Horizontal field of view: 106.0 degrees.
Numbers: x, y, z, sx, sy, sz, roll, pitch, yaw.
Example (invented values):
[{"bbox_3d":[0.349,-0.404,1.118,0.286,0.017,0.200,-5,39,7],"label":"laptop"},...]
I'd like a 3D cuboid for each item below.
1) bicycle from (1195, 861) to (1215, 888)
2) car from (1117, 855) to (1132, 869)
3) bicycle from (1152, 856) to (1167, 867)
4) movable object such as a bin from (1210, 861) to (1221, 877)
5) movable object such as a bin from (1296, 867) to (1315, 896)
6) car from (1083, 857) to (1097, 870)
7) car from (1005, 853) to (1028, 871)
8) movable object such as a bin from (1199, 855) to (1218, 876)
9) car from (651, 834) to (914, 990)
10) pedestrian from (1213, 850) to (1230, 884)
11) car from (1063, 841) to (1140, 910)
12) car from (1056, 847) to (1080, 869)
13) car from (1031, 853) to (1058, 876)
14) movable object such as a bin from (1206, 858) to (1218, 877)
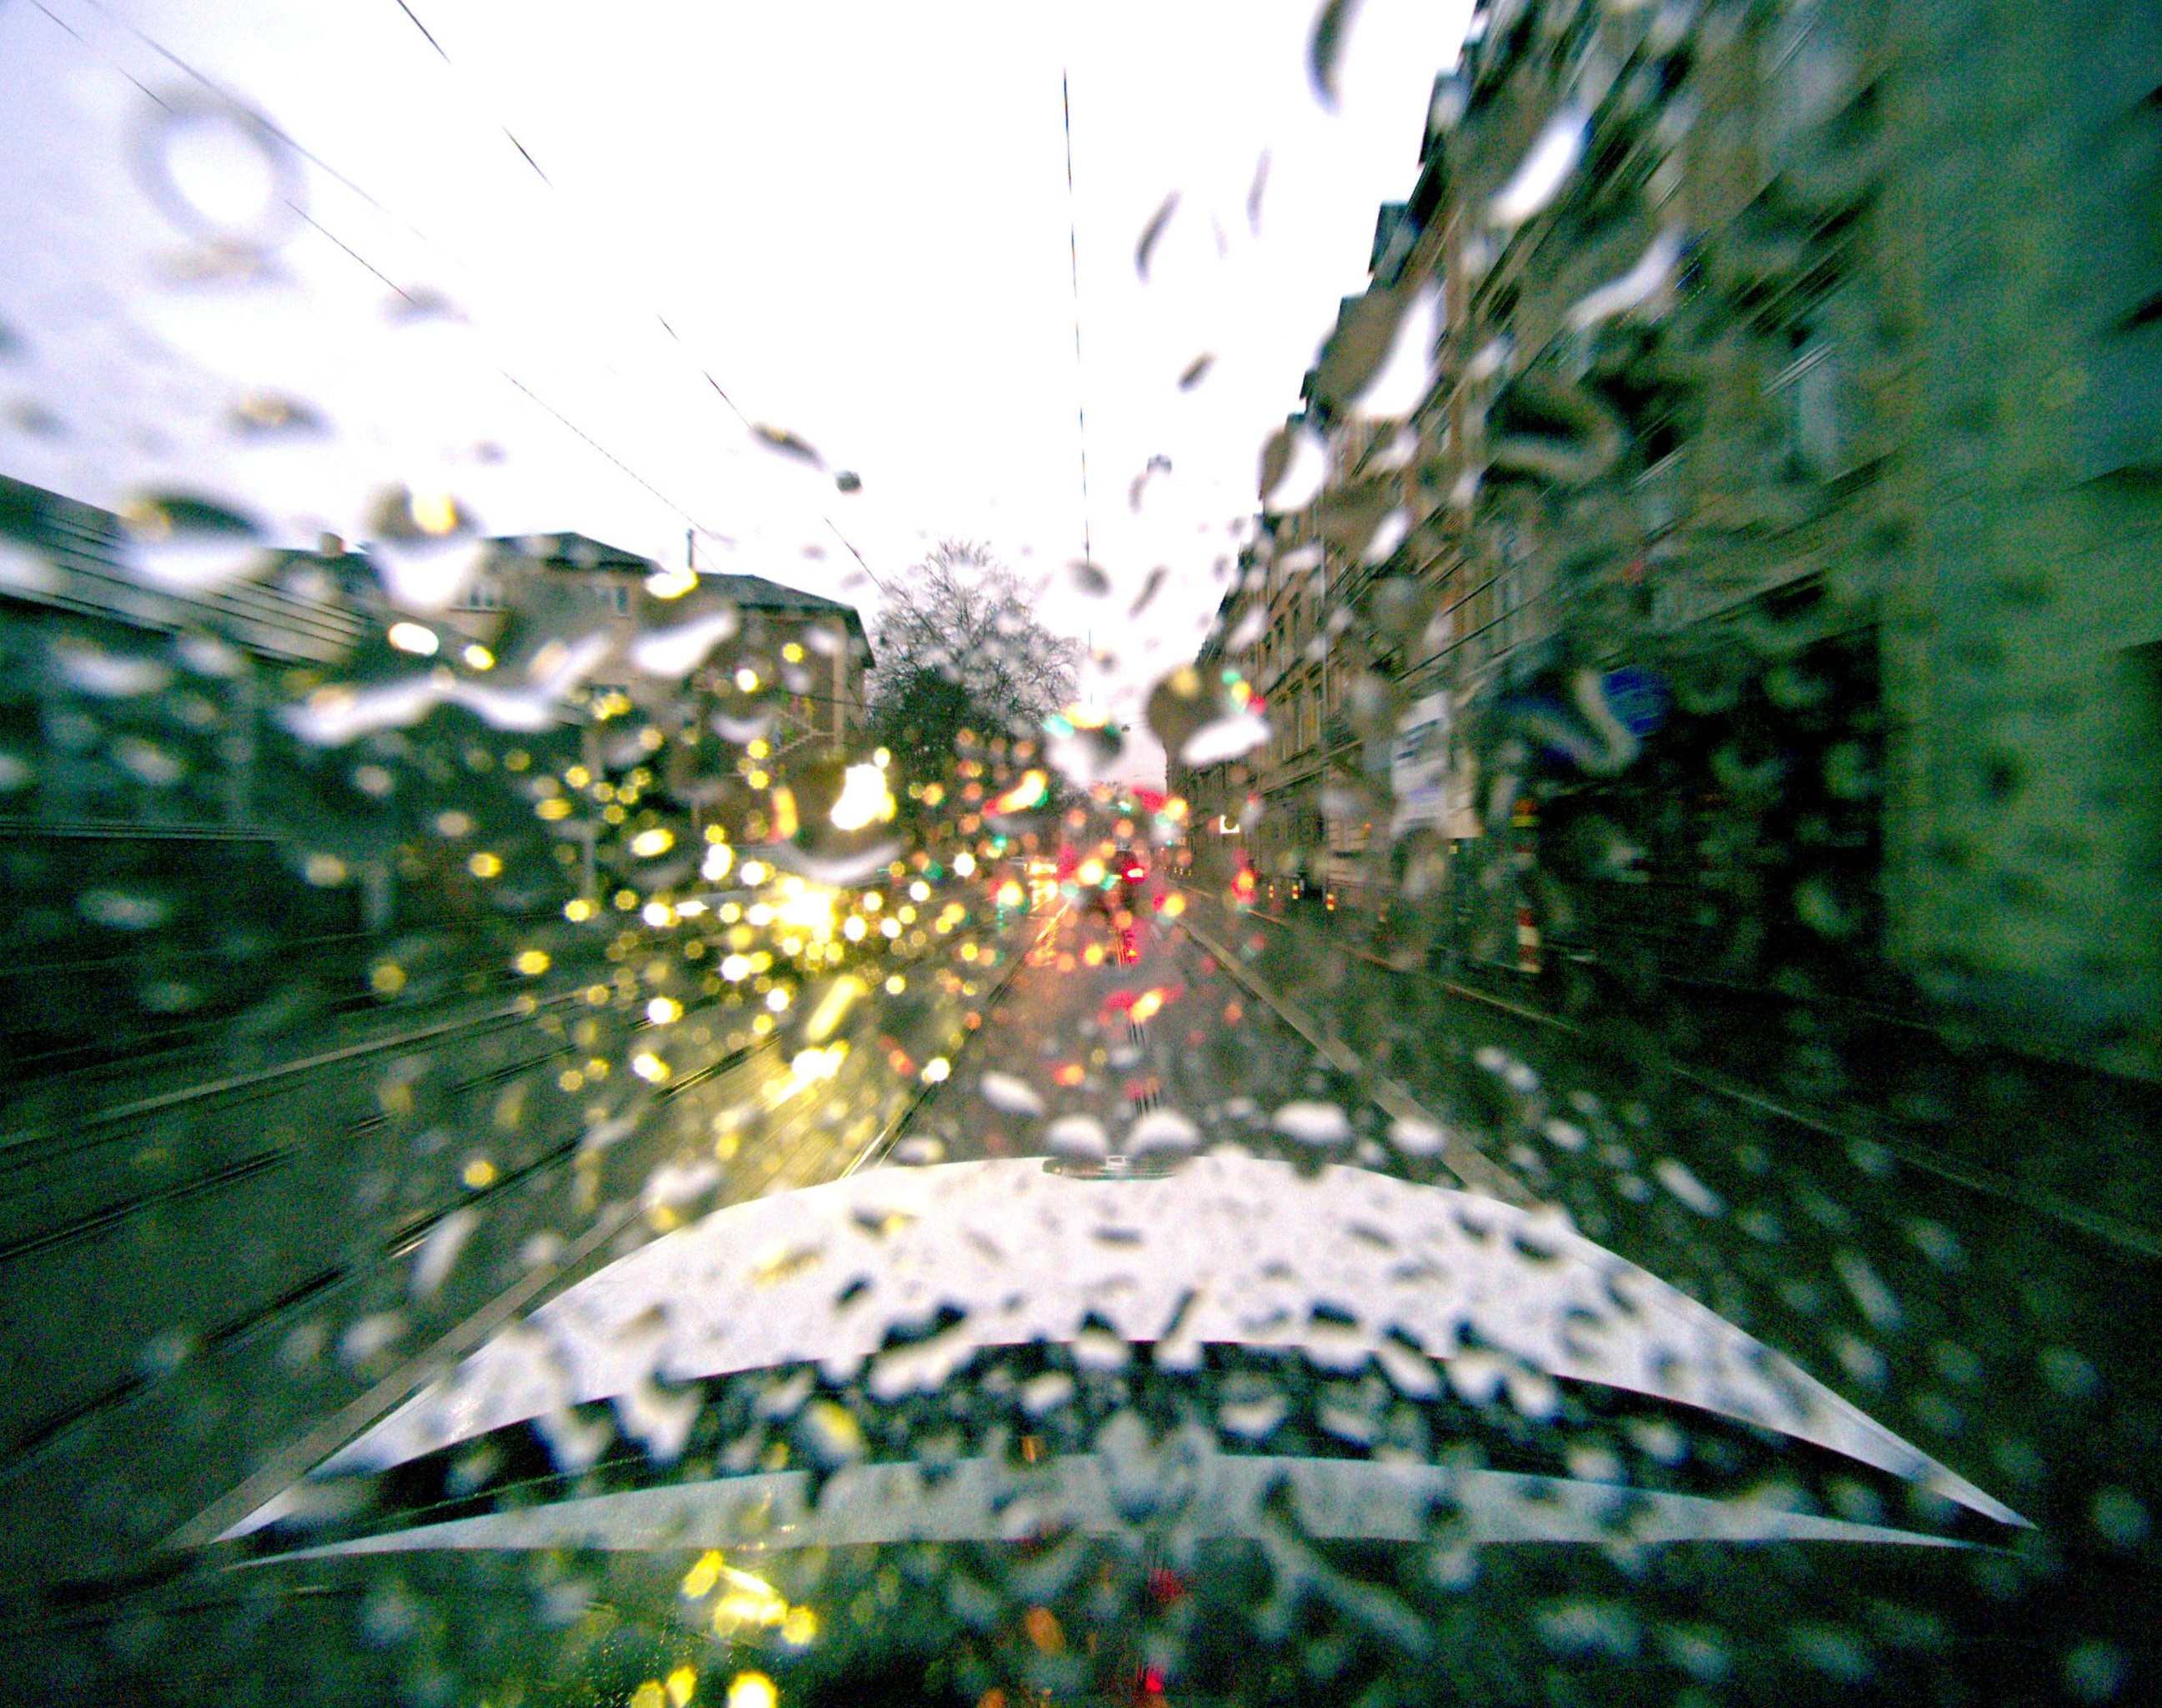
[{"bbox_3d":[5.578,0.912,36.716,0.681,1.156,2.189,0,-1,2],"label":"bicycle"},{"bbox_3d":[6.190,1.134,115.227,1.984,1.842,4.005,-1,0,4],"label":"car"},{"bbox_3d":[8.681,0.804,89.955,0.795,1.144,2.230,0,-1,-17],"label":"bicycle"},{"bbox_3d":[7.691,0.850,46.609,0.490,0.929,0.422,-1,0,-25],"label":"movable object such as a bin"},{"bbox_3d":[7.420,0.896,26.957,0.505,0.931,0.507,0,0,0],"label":"movable object such as a bin"},{"bbox_3d":[1.377,1.497,129.183,1.985,2.014,4.004,0,-1,4],"label":"car"},{"bbox_3d":[-6.032,0.764,76.382,1.979,1.615,4.425,0,-1,-2],"label":"car"},{"bbox_3d":[7.927,0.686,50.541,0.886,1.288,1.260,-1,0,-5],"label":"movable object such as a bin"},{"bbox_3d":[-3.872,0.655,11.600,1.868,1.710,4.761,-2,0,1],"label":"car"},{"bbox_3d":[7.195,0.663,41.738,0.829,1.701,0.956,0,-1,10],"label":"pedestrian"},{"bbox_3d":[0.692,0.583,23.655,1.984,1.842,4.005,-1,0,4],"label":"car"},{"bbox_3d":[-1.490,0.480,95.558,2.437,2.347,5.847,-1,-1,2],"label":"car"},{"bbox_3d":[-2.420,0.684,55.400,1.524,1.481,3.563,-1,0,2],"label":"car"},{"bbox_3d":[7.832,0.797,48.693,0.606,1.082,0.602,-1,0,17],"label":"movable object such as a bin"}]
